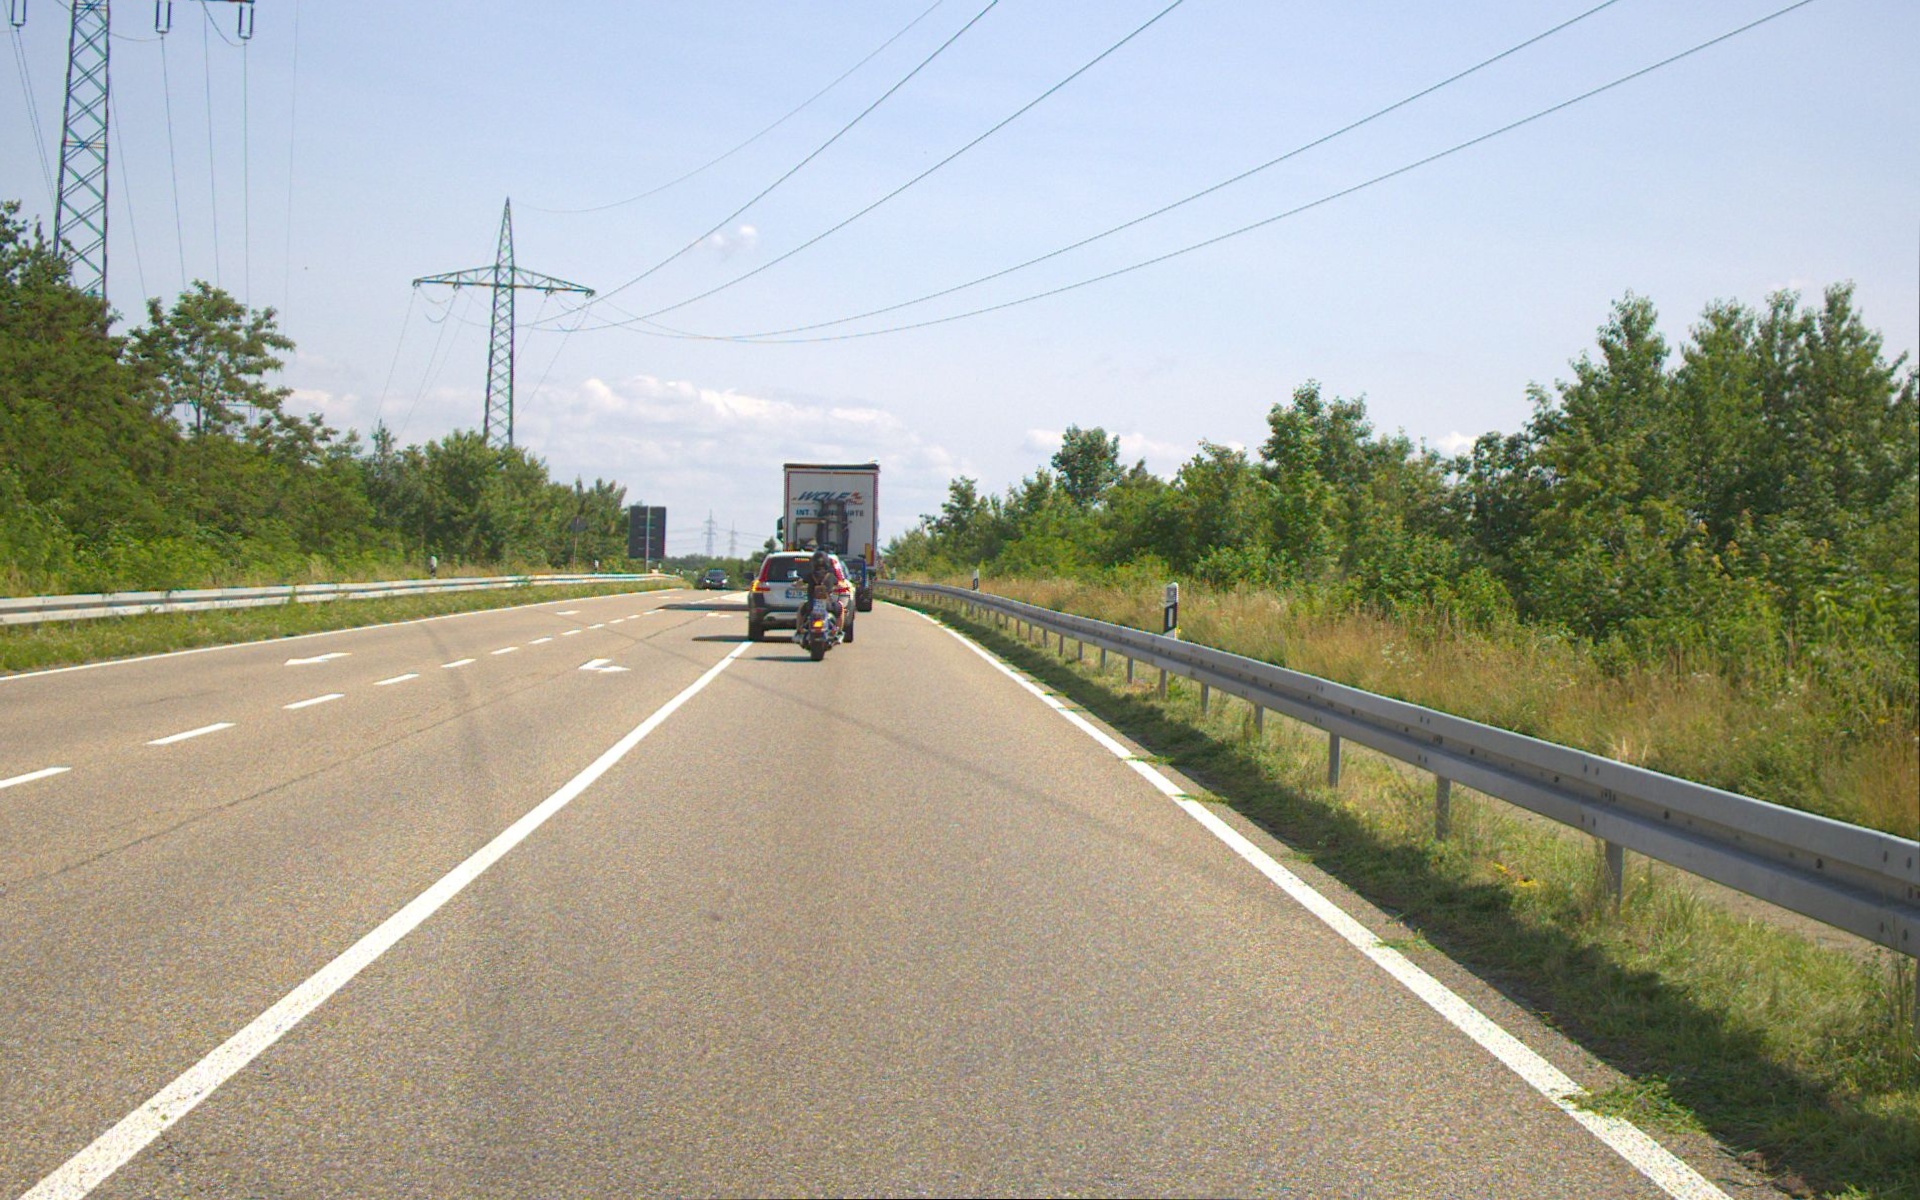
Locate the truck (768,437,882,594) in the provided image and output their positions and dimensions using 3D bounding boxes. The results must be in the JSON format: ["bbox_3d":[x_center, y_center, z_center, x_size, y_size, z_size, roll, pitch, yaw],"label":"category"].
[{"bbox_3d":[-3.935,-2.367,100.453,2.967,4.172,14.823,1,1,-2],"label":"truck"}]

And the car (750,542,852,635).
[{"bbox_3d":[-2.788,-0.215,60.086,1.701,1.531,3.499,1,0,-3],"label":"car"}]

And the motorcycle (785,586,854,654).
[{"bbox_3d":[-2.027,0.277,49.321,0.858,0.912,2.228,2,0,-5],"label":"motorcycle"}]

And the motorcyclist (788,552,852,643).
[{"bbox_3d":[-2.014,-0.042,49.334,0.837,1.276,0.919,1,0,-5],"label":"motorcyclist"}]
